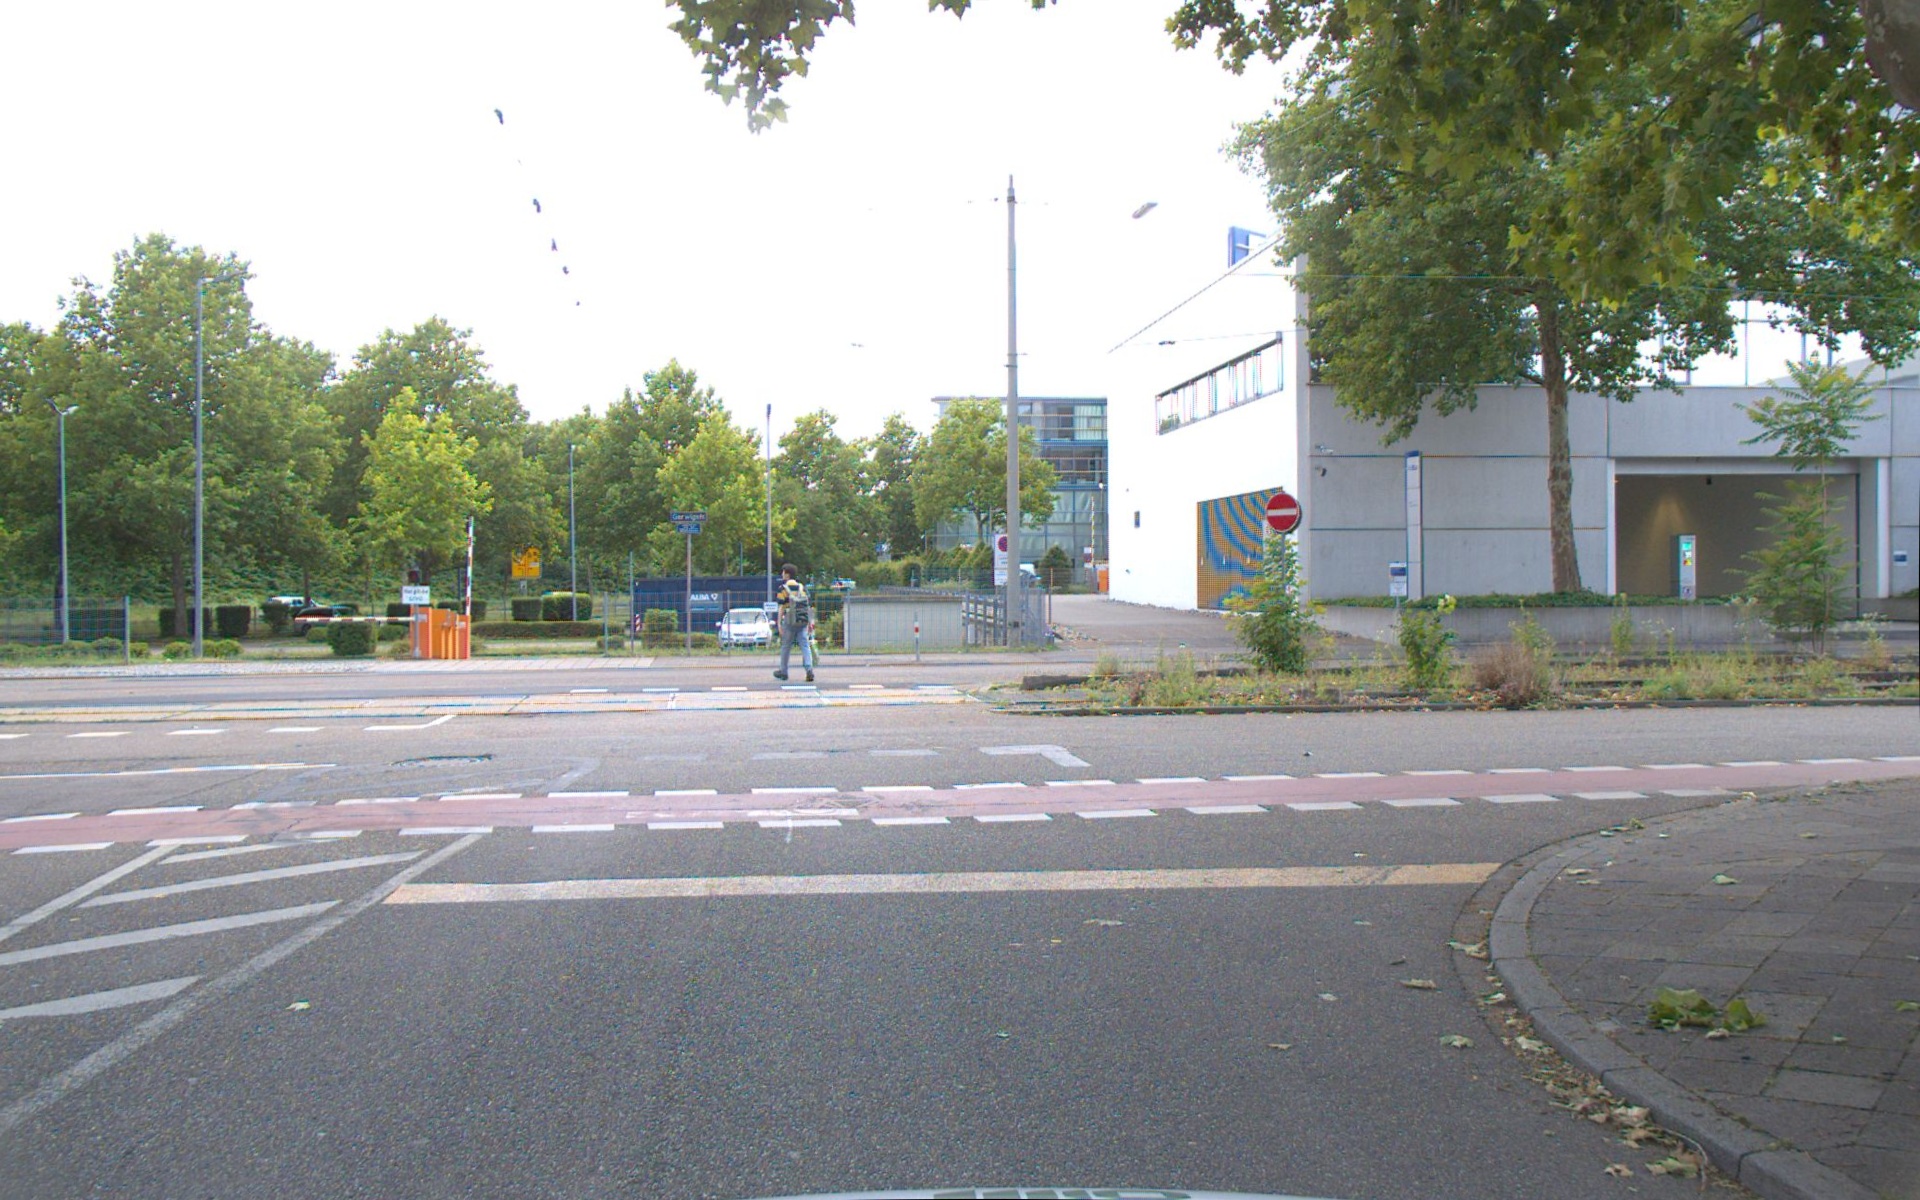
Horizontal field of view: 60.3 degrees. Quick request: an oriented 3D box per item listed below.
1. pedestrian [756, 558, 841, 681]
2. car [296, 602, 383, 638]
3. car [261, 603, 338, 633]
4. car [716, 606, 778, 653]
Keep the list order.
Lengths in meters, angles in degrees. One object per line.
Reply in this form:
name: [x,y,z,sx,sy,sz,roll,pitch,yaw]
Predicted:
pedestrian: [-2.542,0.287,25.999,0.988,1.881,1.220,-1,0,-25]
car: [-31.169,0.984,83.129,3.907,1.731,1.909,0,0,25]
car: [-40.354,1.086,101.148,1.876,1.751,4.297,0,1,25]
car: [-6.980,0.941,54.582,1.894,1.427,4.076,-1,0,-6]
